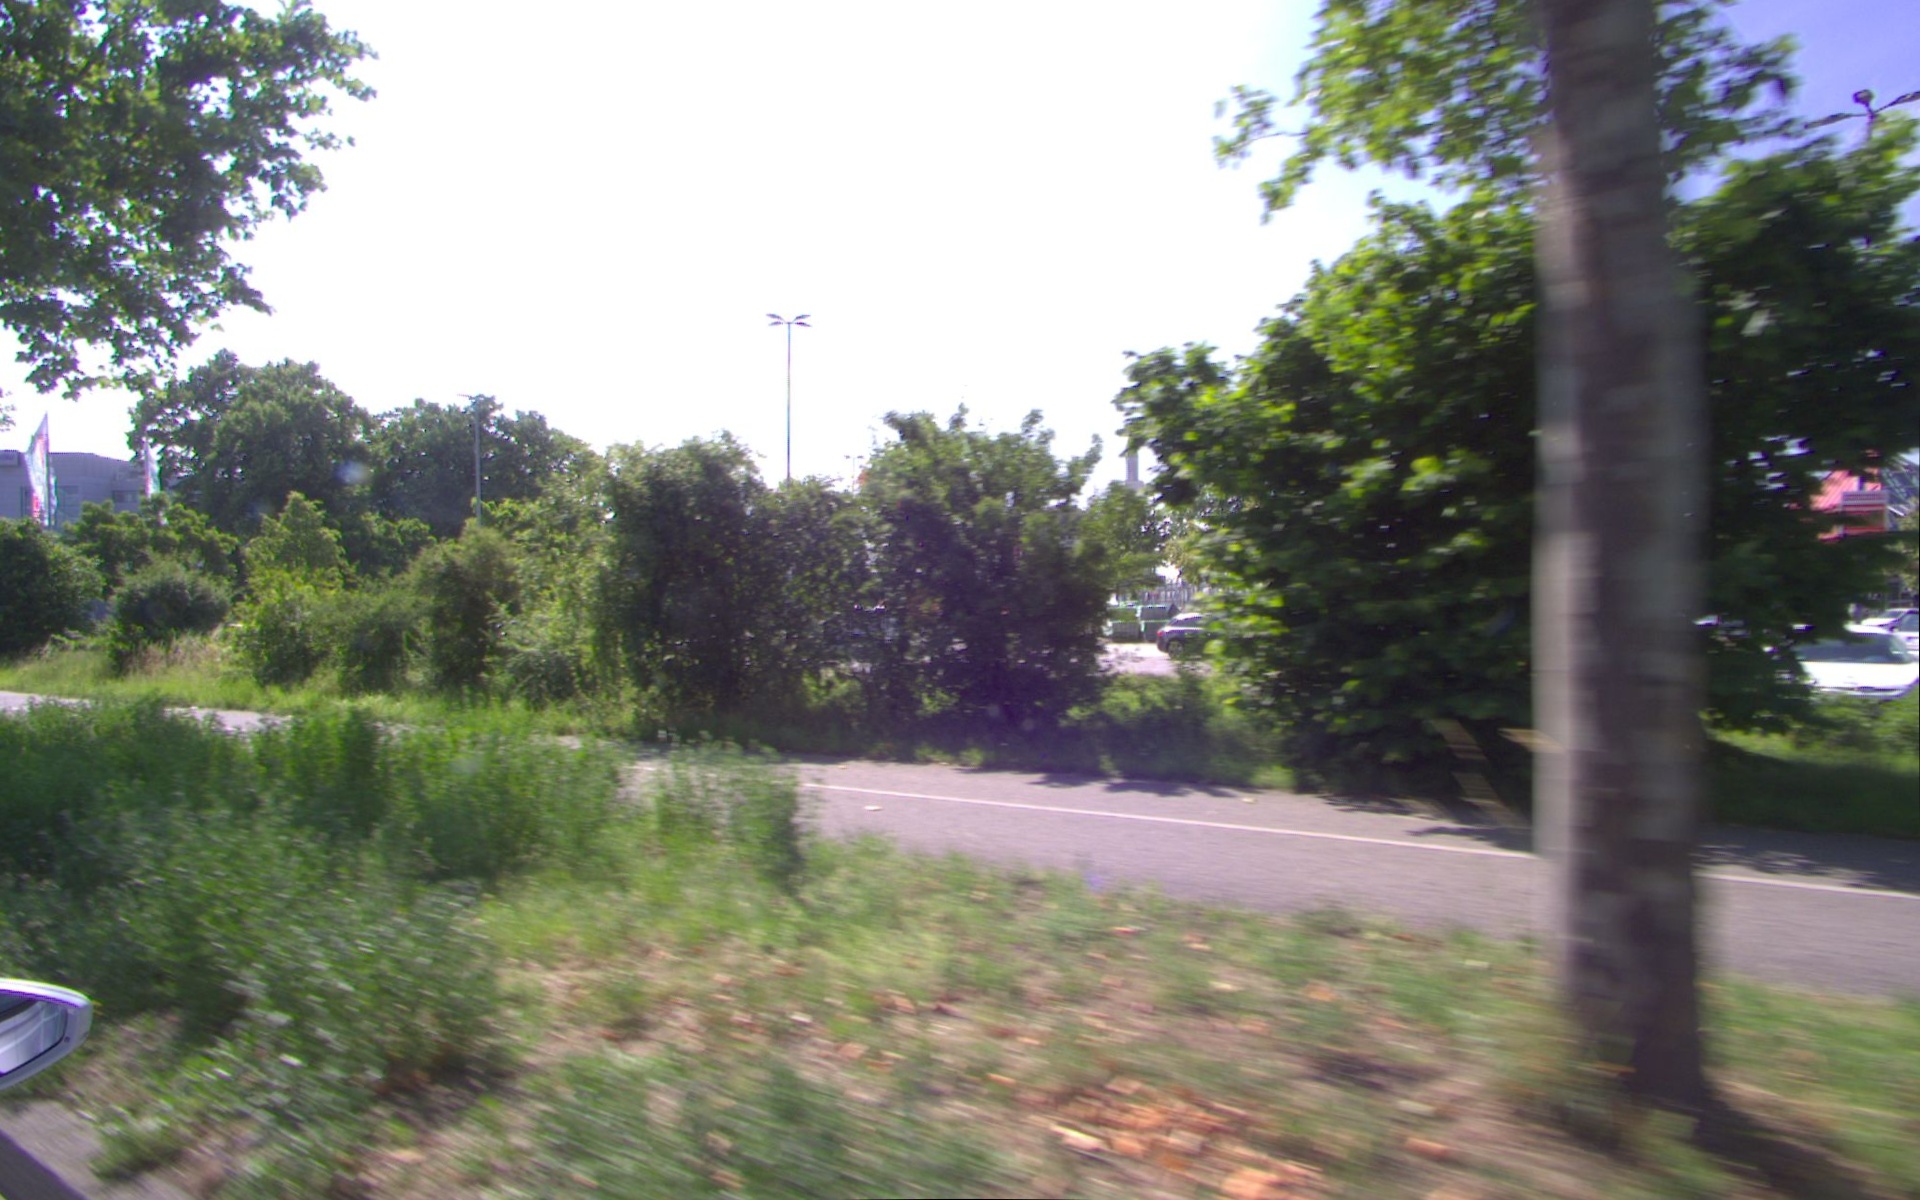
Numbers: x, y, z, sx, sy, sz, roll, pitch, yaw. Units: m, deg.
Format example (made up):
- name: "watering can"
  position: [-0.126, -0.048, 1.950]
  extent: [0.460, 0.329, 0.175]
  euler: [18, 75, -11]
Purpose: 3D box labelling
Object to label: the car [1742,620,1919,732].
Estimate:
- name: "car"
  position: [12.919, 1.030, 14.796]
  extent: [1.581, 1.438, 3.982]
  euler: [-1, -2, 30]
